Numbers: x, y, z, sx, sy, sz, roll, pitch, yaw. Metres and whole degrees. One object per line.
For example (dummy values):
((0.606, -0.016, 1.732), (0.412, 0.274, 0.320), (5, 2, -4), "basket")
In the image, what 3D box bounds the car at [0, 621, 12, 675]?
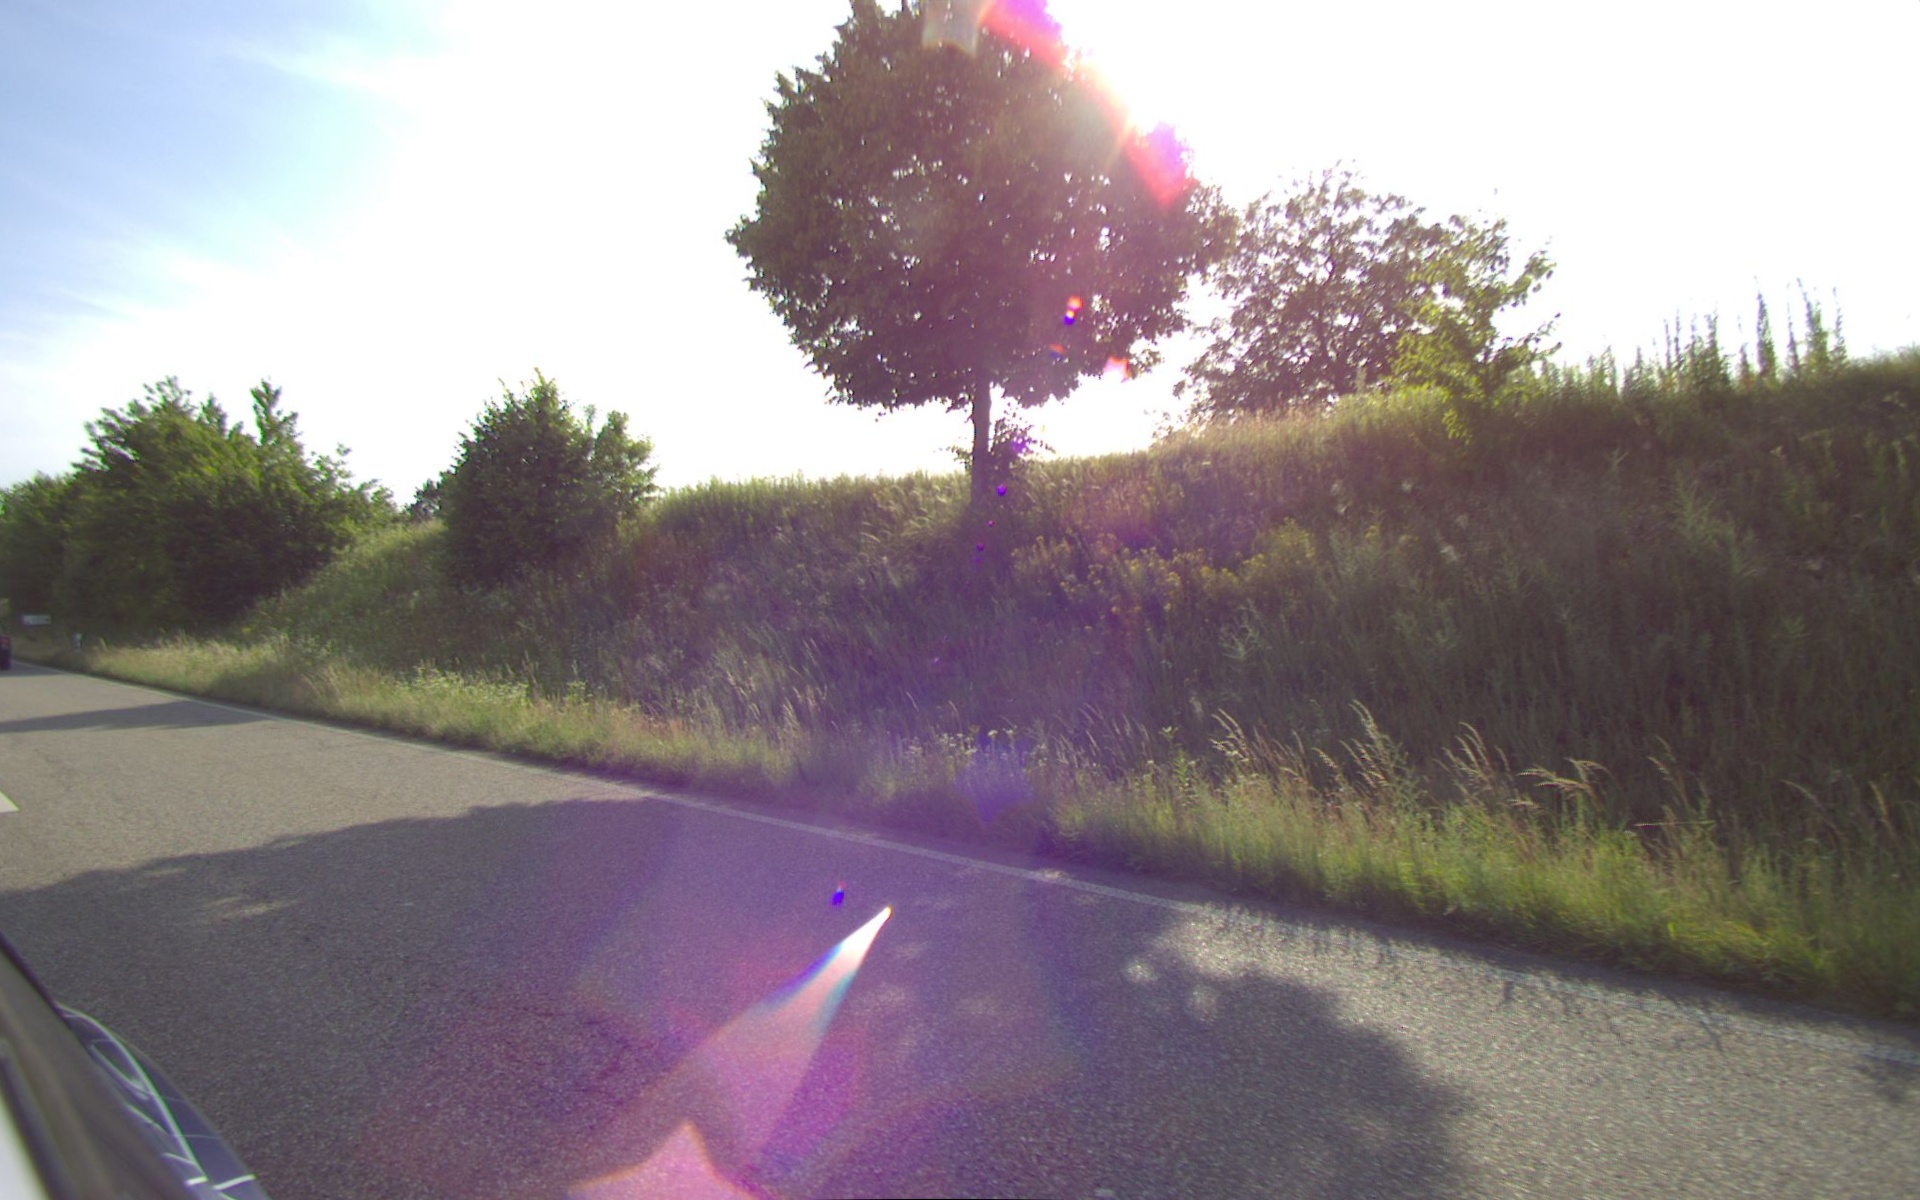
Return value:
((-29.665, 1.407, 30.158), (4.311, 1.558, 1.724), (-1, -1, 42), "car")
